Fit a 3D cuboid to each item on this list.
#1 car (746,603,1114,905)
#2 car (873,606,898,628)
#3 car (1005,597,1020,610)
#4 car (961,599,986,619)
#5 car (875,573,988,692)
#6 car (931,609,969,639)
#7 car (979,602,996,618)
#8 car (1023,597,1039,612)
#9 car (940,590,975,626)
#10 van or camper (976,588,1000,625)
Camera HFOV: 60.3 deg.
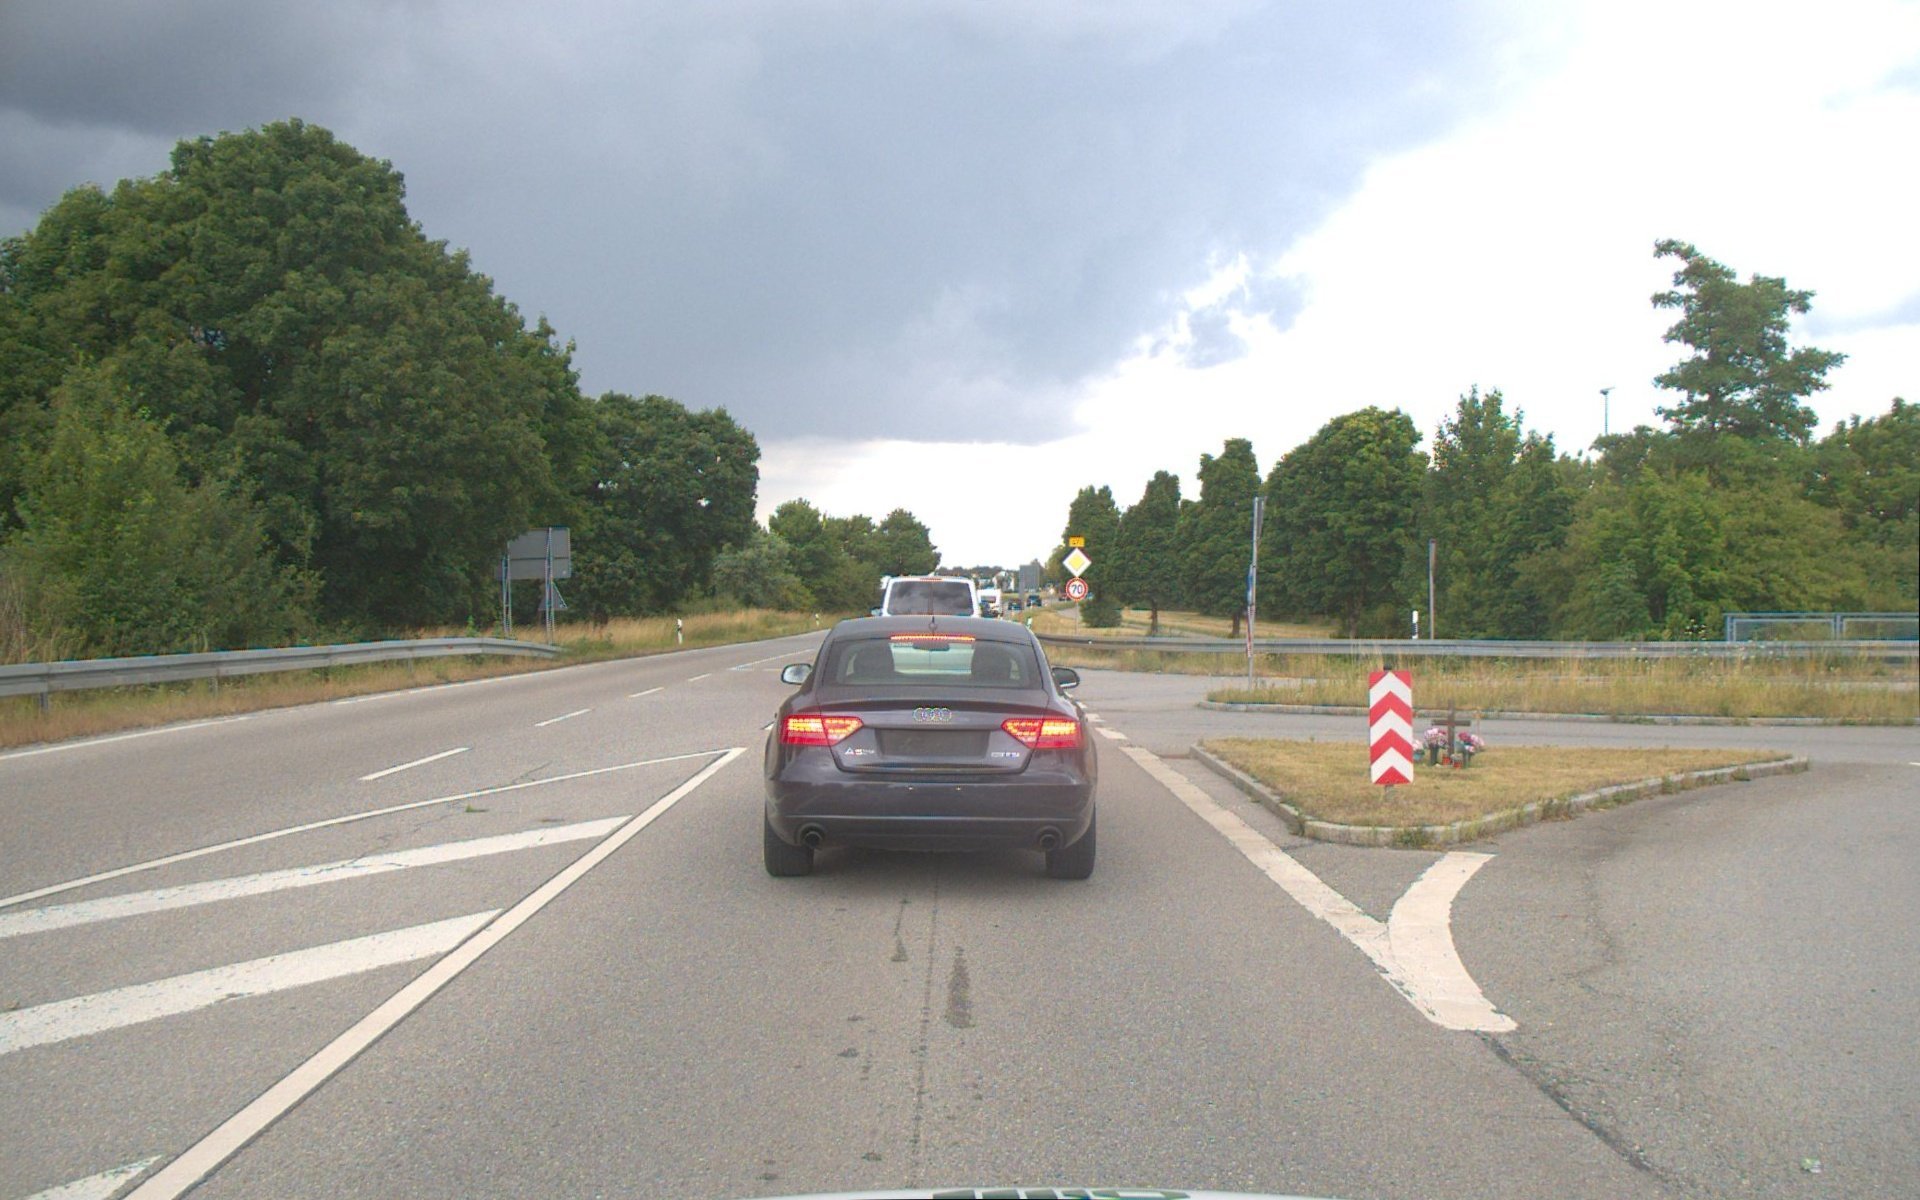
[{"bbox_3d":[-0.172,0.745,9.937,1.746,1.400,3.999,1,0,-1],"label":"car"},{"bbox_3d":[-5.408,1.196,119.929,1.676,1.549,3.999,0,0,-1],"label":"car"},{"bbox_3d":[6.244,0.423,198.351,1.683,1.477,4.000,1,0,0],"label":"car"},{"bbox_3d":[1.081,0.740,129.699,1.699,1.541,3.749,0,0,5],"label":"car"},{"bbox_3d":[-0.487,0.520,28.865,1.801,1.915,3.999,1,0,-1],"label":"car"},{"bbox_3d":[-0.500,1.206,85.044,1.758,1.490,3.249,0,0,3],"label":"car"},{"bbox_3d":[2.402,0.838,142.602,1.231,1.377,3.468,0,0,5],"label":"car"},{"bbox_3d":[9.645,0.619,225.331,1.953,2.049,3.999,0,0,-1],"label":"car"},{"bbox_3d":[-0.110,0.480,99.665,1.952,2.125,4.001,0,0,2],"label":"car"},{"bbox_3d":[2.741,0.623,160.777,2.292,3.542,5.719,0,0,1],"label":"van or camper"}]
